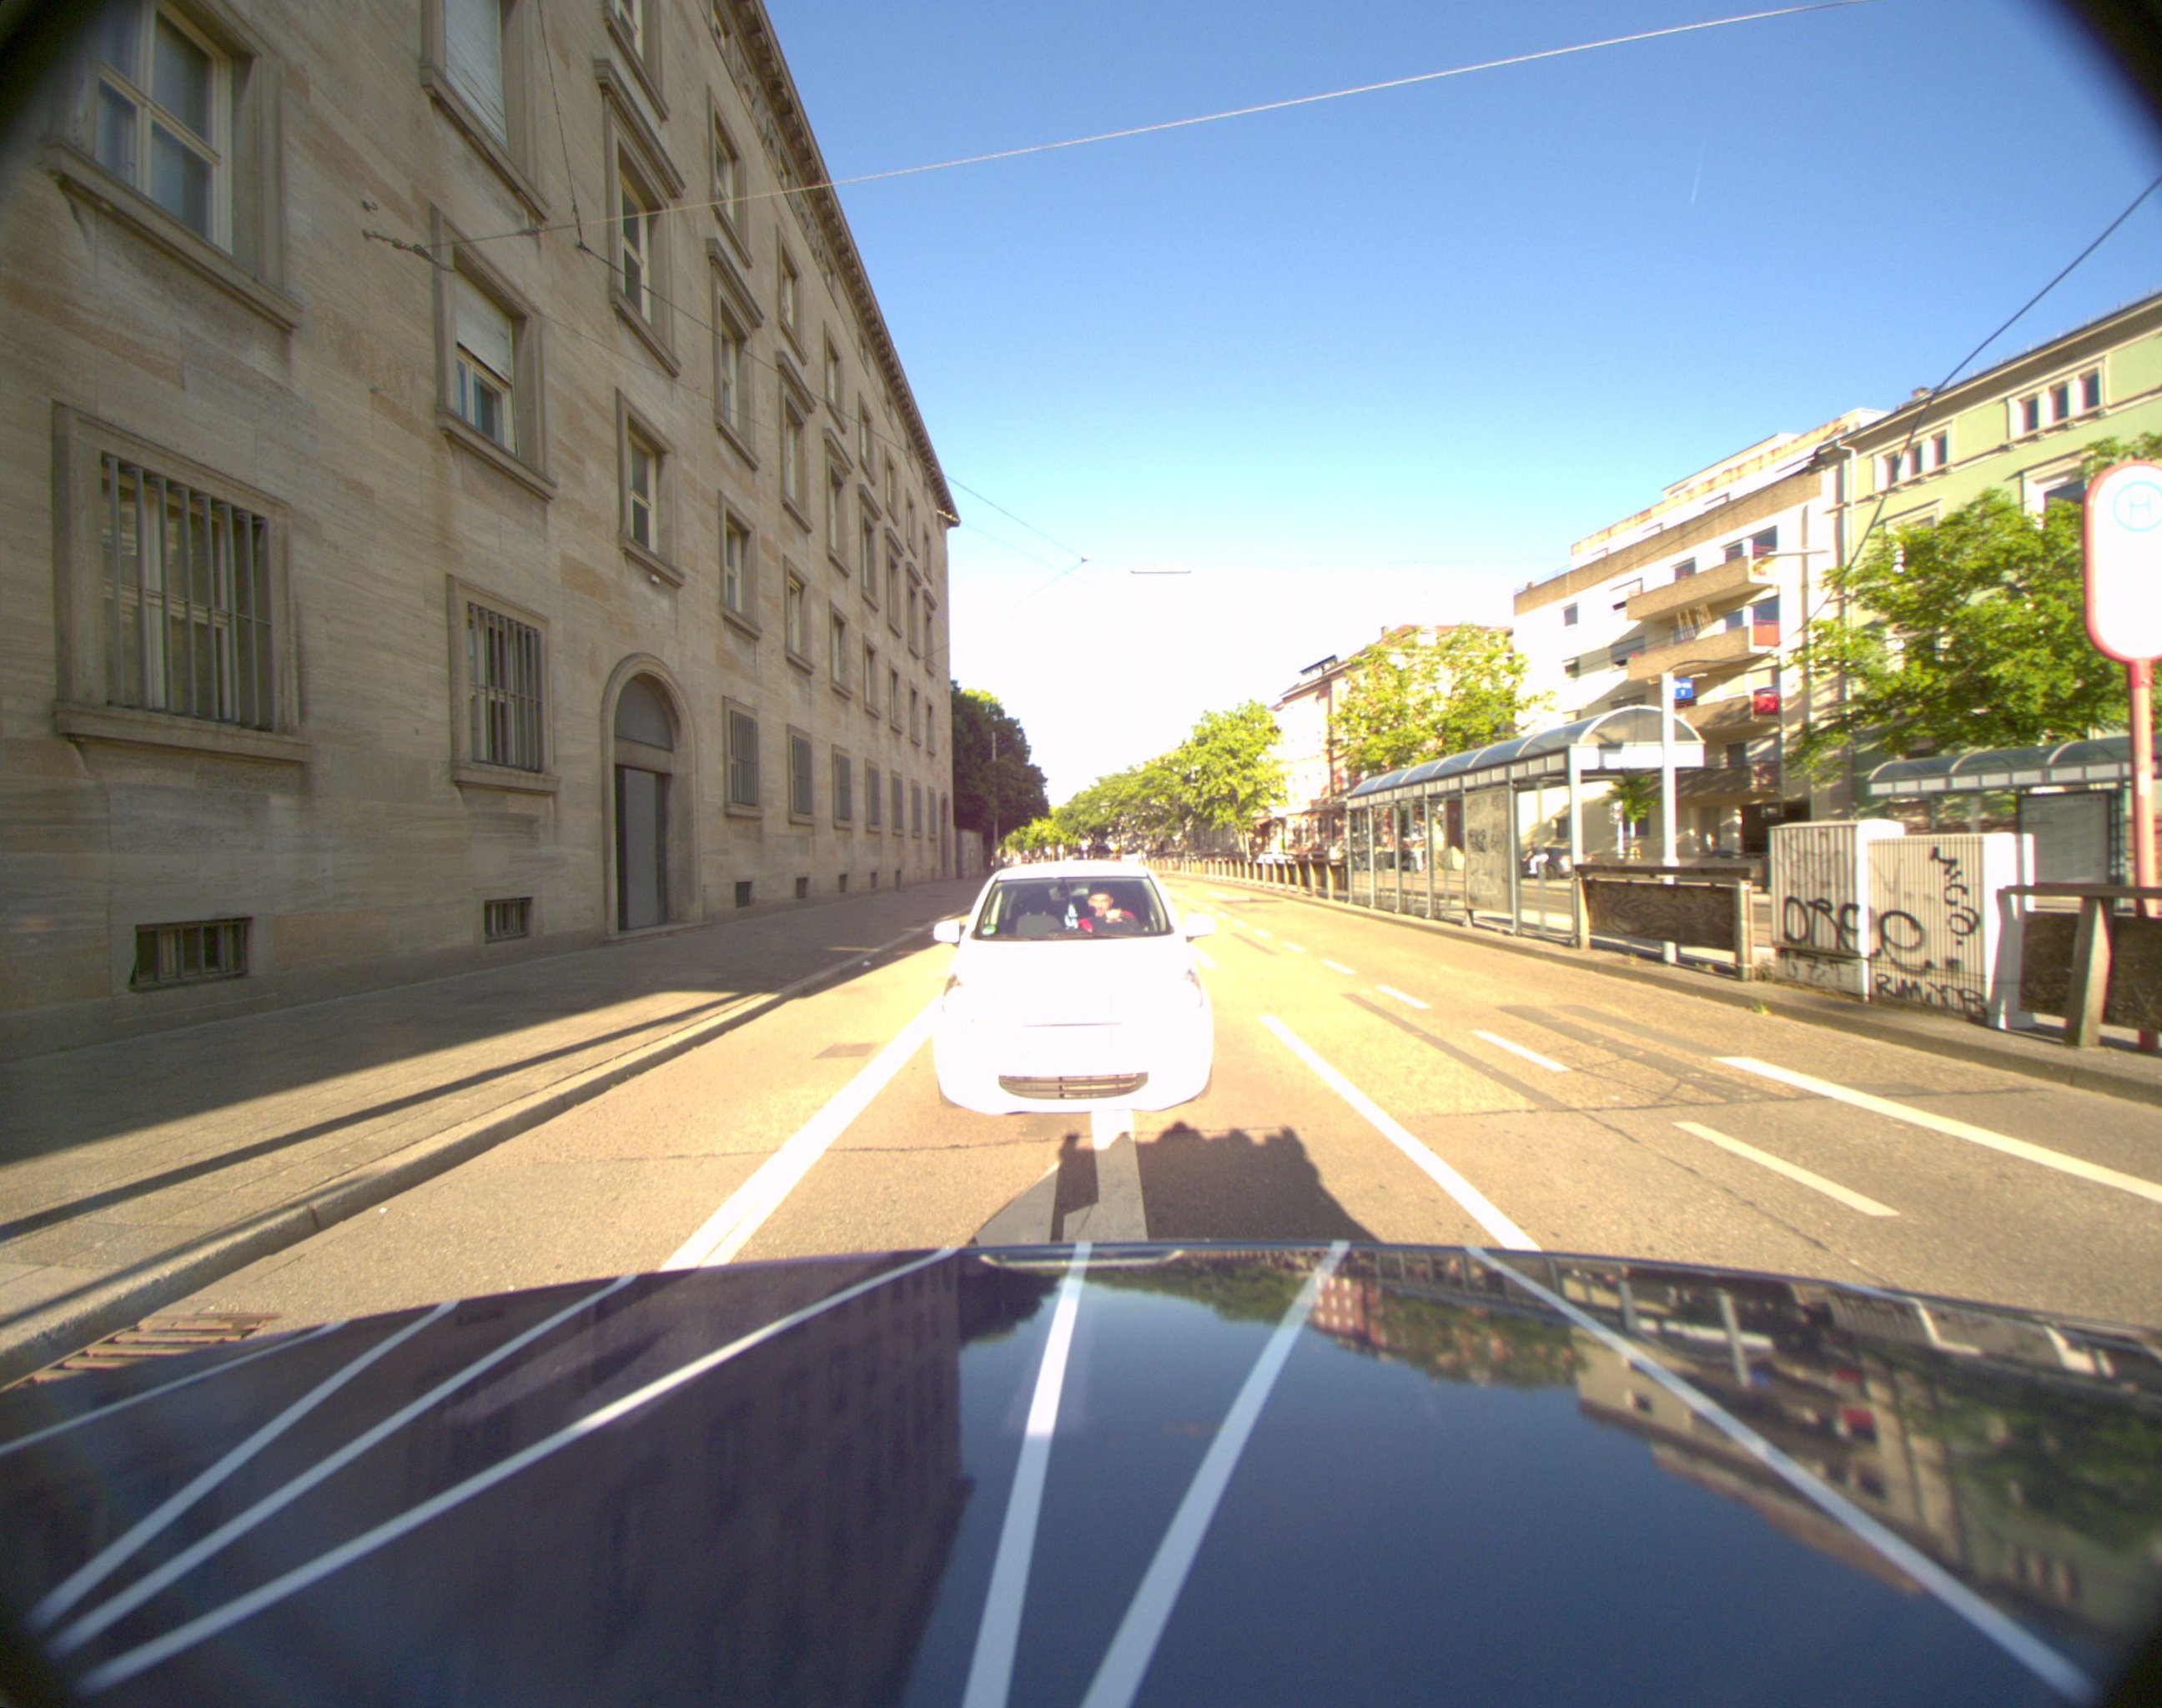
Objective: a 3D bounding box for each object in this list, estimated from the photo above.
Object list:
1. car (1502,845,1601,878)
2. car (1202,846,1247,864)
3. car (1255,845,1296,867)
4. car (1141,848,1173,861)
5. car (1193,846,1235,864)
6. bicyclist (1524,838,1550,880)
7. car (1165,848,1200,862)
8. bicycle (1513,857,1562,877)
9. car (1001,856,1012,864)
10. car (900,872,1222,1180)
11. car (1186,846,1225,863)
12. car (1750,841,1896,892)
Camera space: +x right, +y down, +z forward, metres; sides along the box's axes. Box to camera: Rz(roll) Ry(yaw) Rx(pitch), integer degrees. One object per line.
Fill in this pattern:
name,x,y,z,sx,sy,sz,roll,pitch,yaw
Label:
car,20.850,0.308,33.829,1.615,1.387,3.516,-1,0,-19
car,13.644,0.112,72.588,3.996,1.674,2.000,-1,0,4
car,16.312,0.149,63.672,1.994,1.713,4.007,0,2,34
car,9.574,0.109,95.711,3.864,1.583,2.001,-1,0,4
car,13.359,0.096,76.722,3.996,1.674,2.000,-1,0,4
bicyclist,19.256,0.198,32.102,0.537,1.751,0.769,-1,1,-20
car,11.445,0.125,86.085,3.864,1.583,2.001,-1,0,5
bicycle,19.261,0.545,32.125,0.537,0.783,1.849,-1,1,-20
car,-15.675,1.271,159.432,2.000,1.761,3.996,-1,0,-9
car,-0.077,0.920,5.701,1.612,1.450,3.667,-1,0,1
car,13.166,0.067,80.525,3.996,1.674,2.000,-1,0,4
car,23.938,0.364,24.545,3.796,1.526,1.772,-1,0,-17
